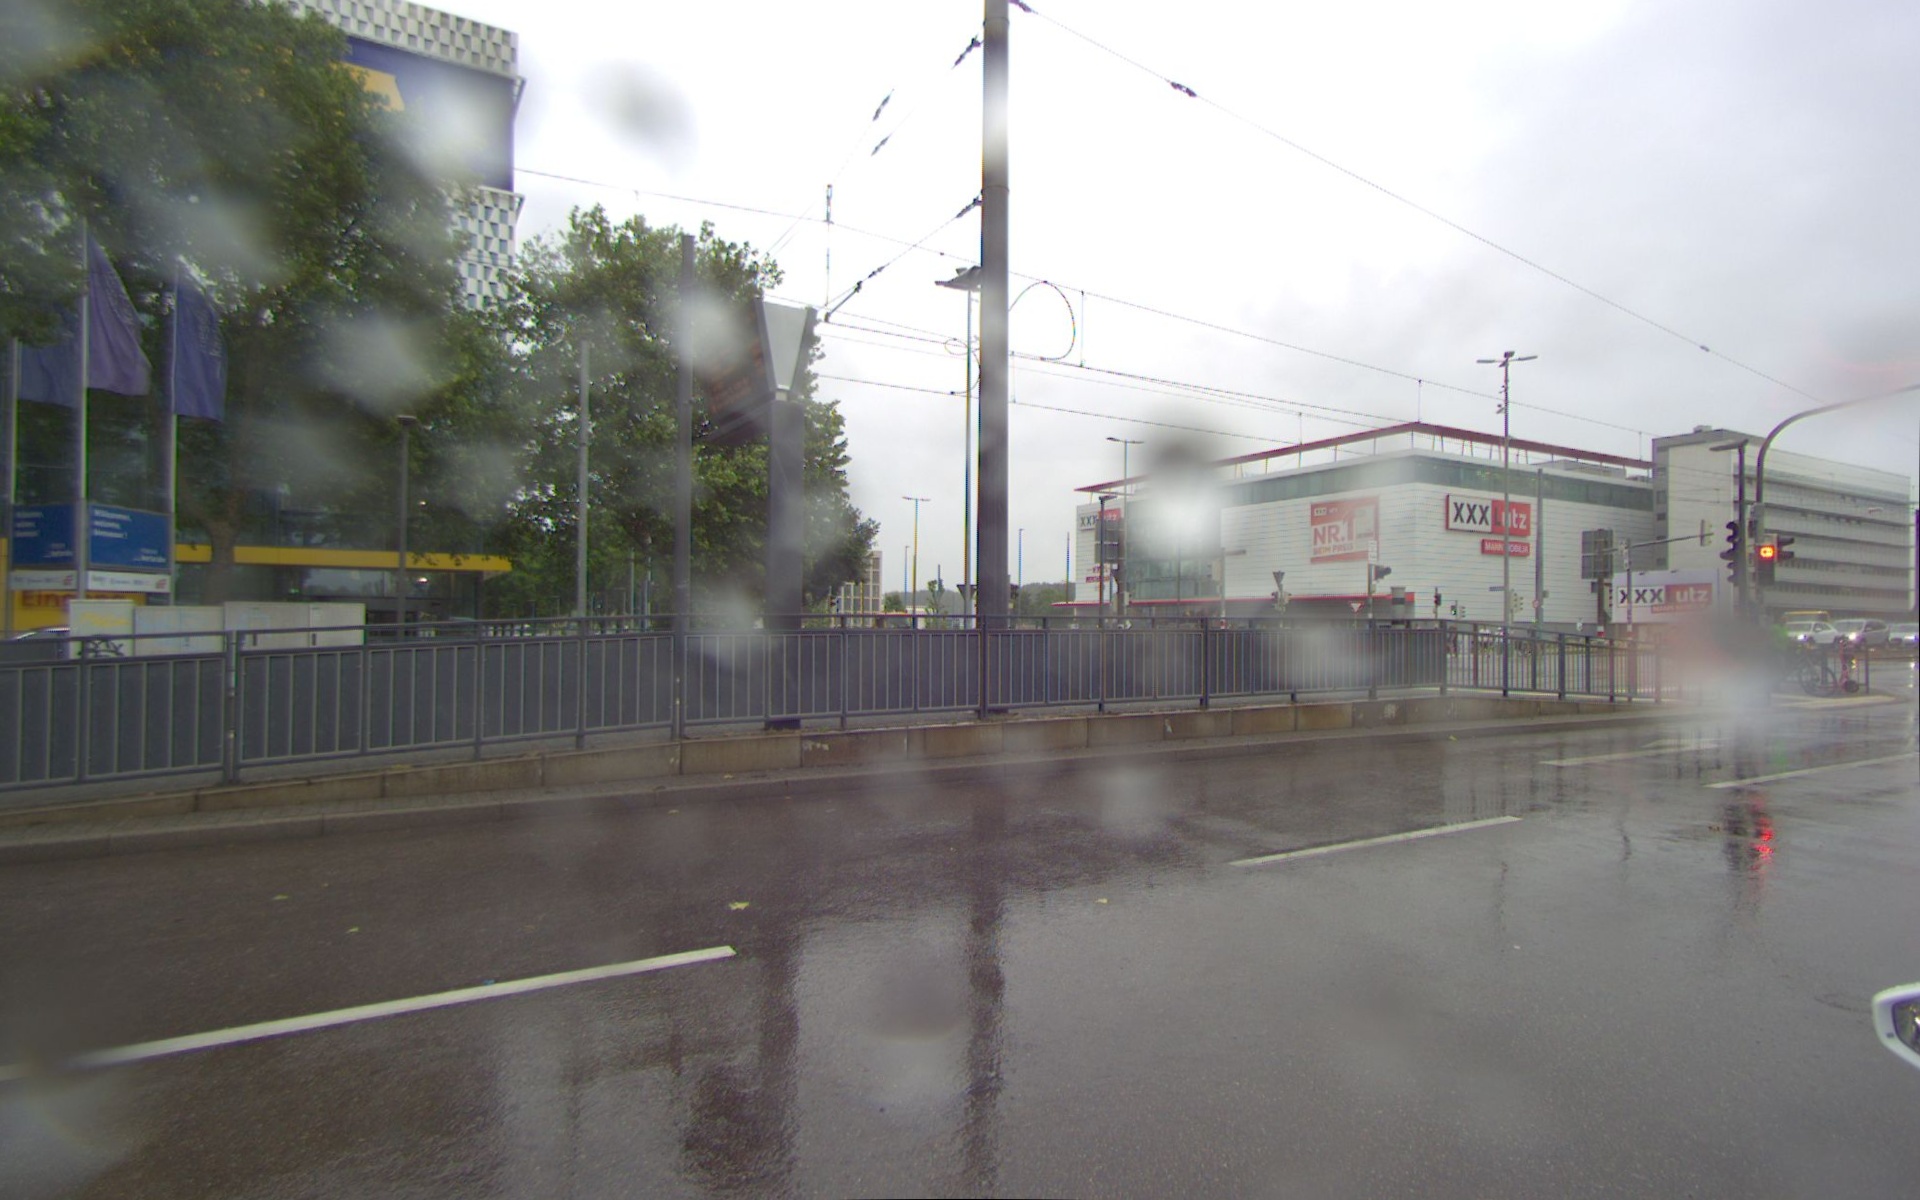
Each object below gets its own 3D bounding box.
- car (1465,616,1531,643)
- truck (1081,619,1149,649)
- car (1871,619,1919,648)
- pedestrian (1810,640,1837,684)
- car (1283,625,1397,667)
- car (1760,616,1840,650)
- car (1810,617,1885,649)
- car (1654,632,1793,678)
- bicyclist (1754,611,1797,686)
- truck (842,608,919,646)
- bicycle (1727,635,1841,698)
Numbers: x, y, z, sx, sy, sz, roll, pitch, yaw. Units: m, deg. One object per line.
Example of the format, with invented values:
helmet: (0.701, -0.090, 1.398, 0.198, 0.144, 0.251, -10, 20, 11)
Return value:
car: (30.113, 1.665, 56.189, 3.765, 1.372, 1.471, 3, 1, -30)
truck: (12.159, 2.632, 79.213, 1.990, 1.968, 5.847, 3, 1, -31)
car: (50.969, 1.817, 54.267, 3.527, 1.445, 1.552, 3, 1, -30)
pedestrian: (18.490, 1.331, 21.515, 0.376, 0.909, 0.313, 1, 2, -32)
car: (15.488, 1.849, 41.052, 4.002, 1.394, 1.600, 3, 1, 40)
car: (39.812, 1.582, 47.619, 3.765, 1.445, 1.702, 3, 1, -30)
car: (44.791, 1.662, 50.673, 3.765, 1.445, 1.702, 3, 1, -30)
car: (24.976, 1.767, 33.012, 3.476, 1.223, 1.436, 3, 1, 34)
bicyclist: (16.805, 0.990, 20.694, 0.596, 1.511, 0.597, 1, 1, -44)
truck: (-5.782, 1.868, 71.799, 2.445, 2.240, 7.329, 3, 1, -31)
bicycle: (16.866, 1.347, 20.587, 0.517, 1.153, 1.735, 1, 1, -45)
